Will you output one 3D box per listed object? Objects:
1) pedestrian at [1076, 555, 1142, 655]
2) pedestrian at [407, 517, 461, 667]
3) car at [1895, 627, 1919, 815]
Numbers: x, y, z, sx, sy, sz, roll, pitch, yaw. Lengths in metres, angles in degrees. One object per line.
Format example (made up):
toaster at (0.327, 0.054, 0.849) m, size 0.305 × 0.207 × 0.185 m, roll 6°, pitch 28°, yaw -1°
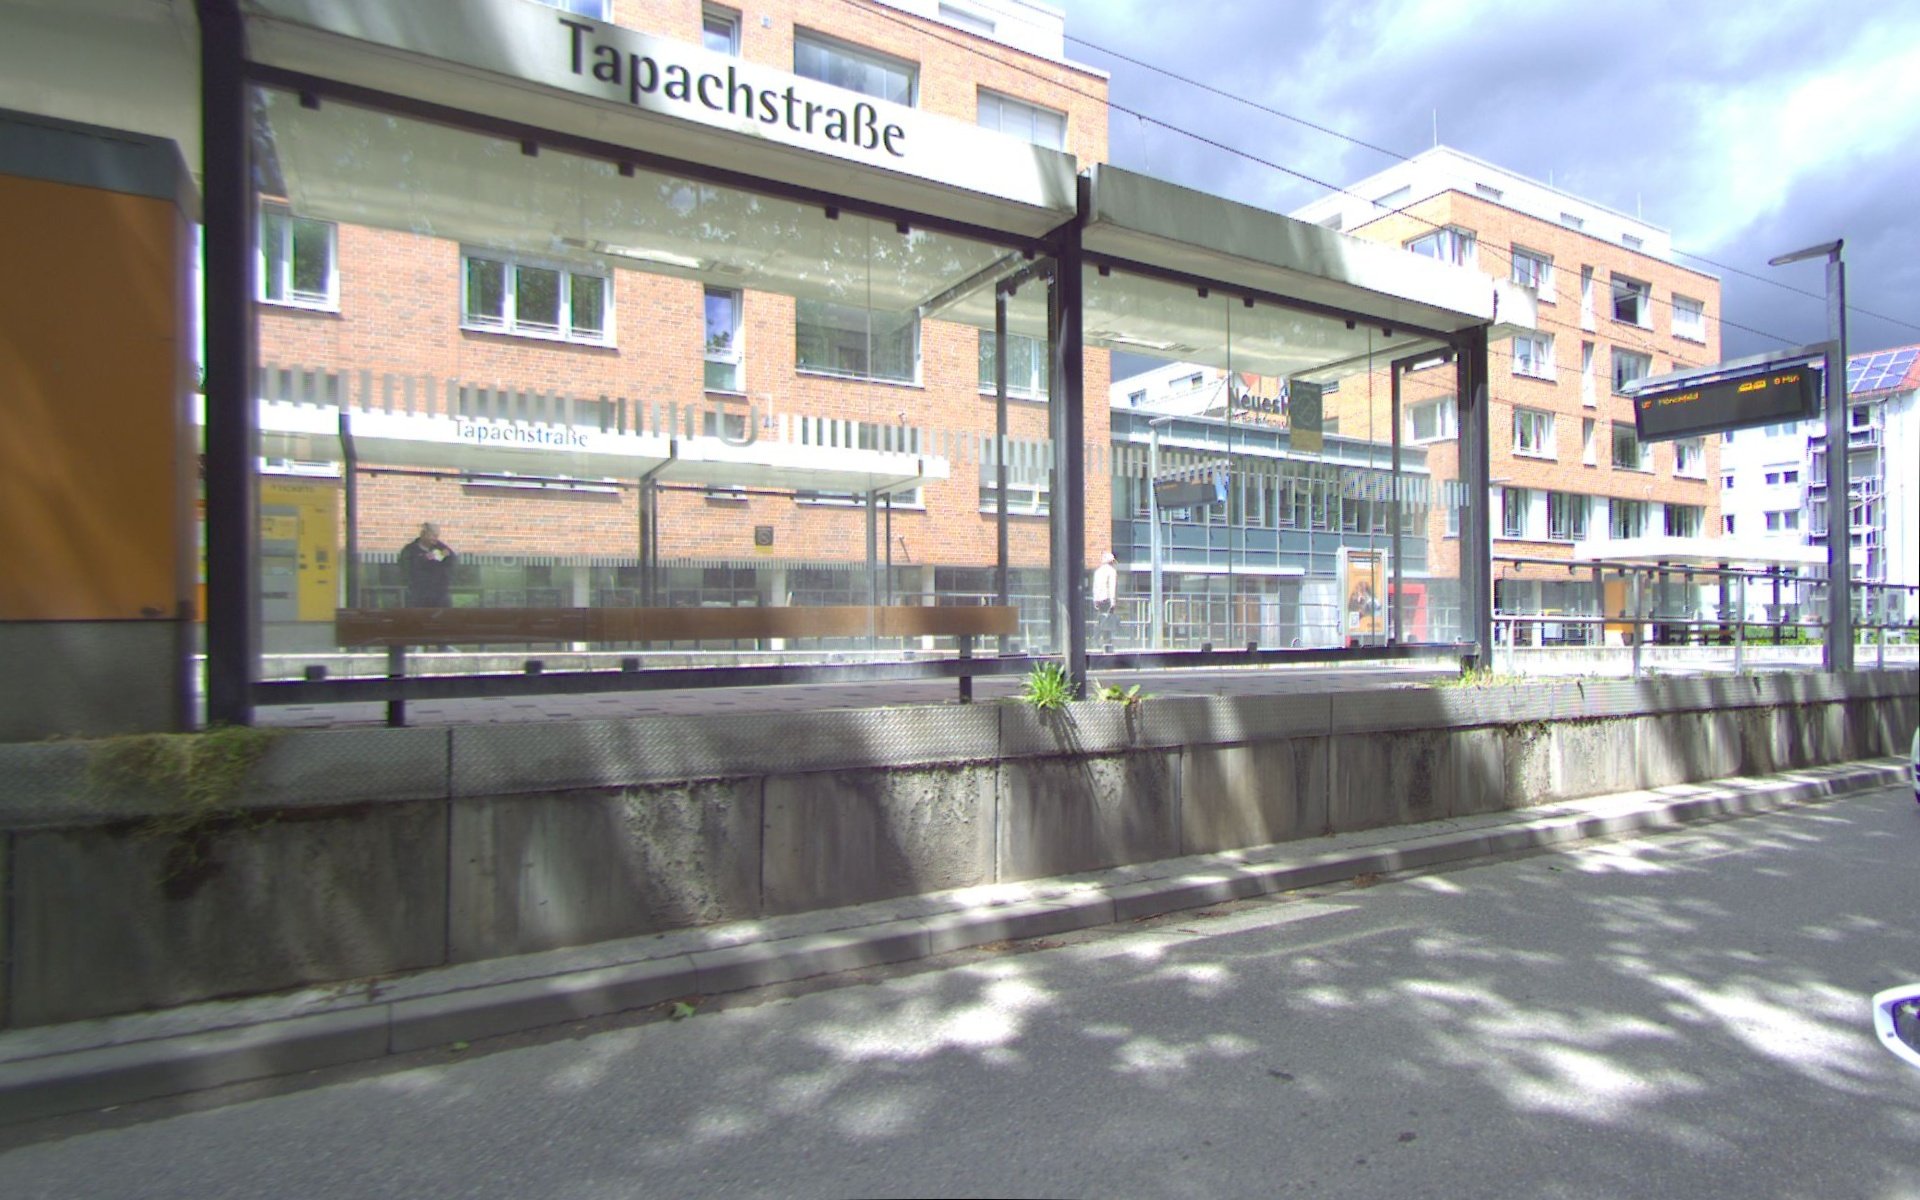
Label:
pedestrian at (2.535, 0.085, 17.092) m, size 0.806 × 1.650 × 0.748 m, roll 1°, pitch 0°, yaw -30°
pedestrian at (-6.462, -0.082, 12.339) m, size 0.522 × 1.787 × 0.531 m, roll 1°, pitch -2°, yaw -33°
car at (9.222, 0.970, 7.965) m, size 3.709 × 1.415 × 1.723 m, roll 1°, pitch 0°, yaw -32°
